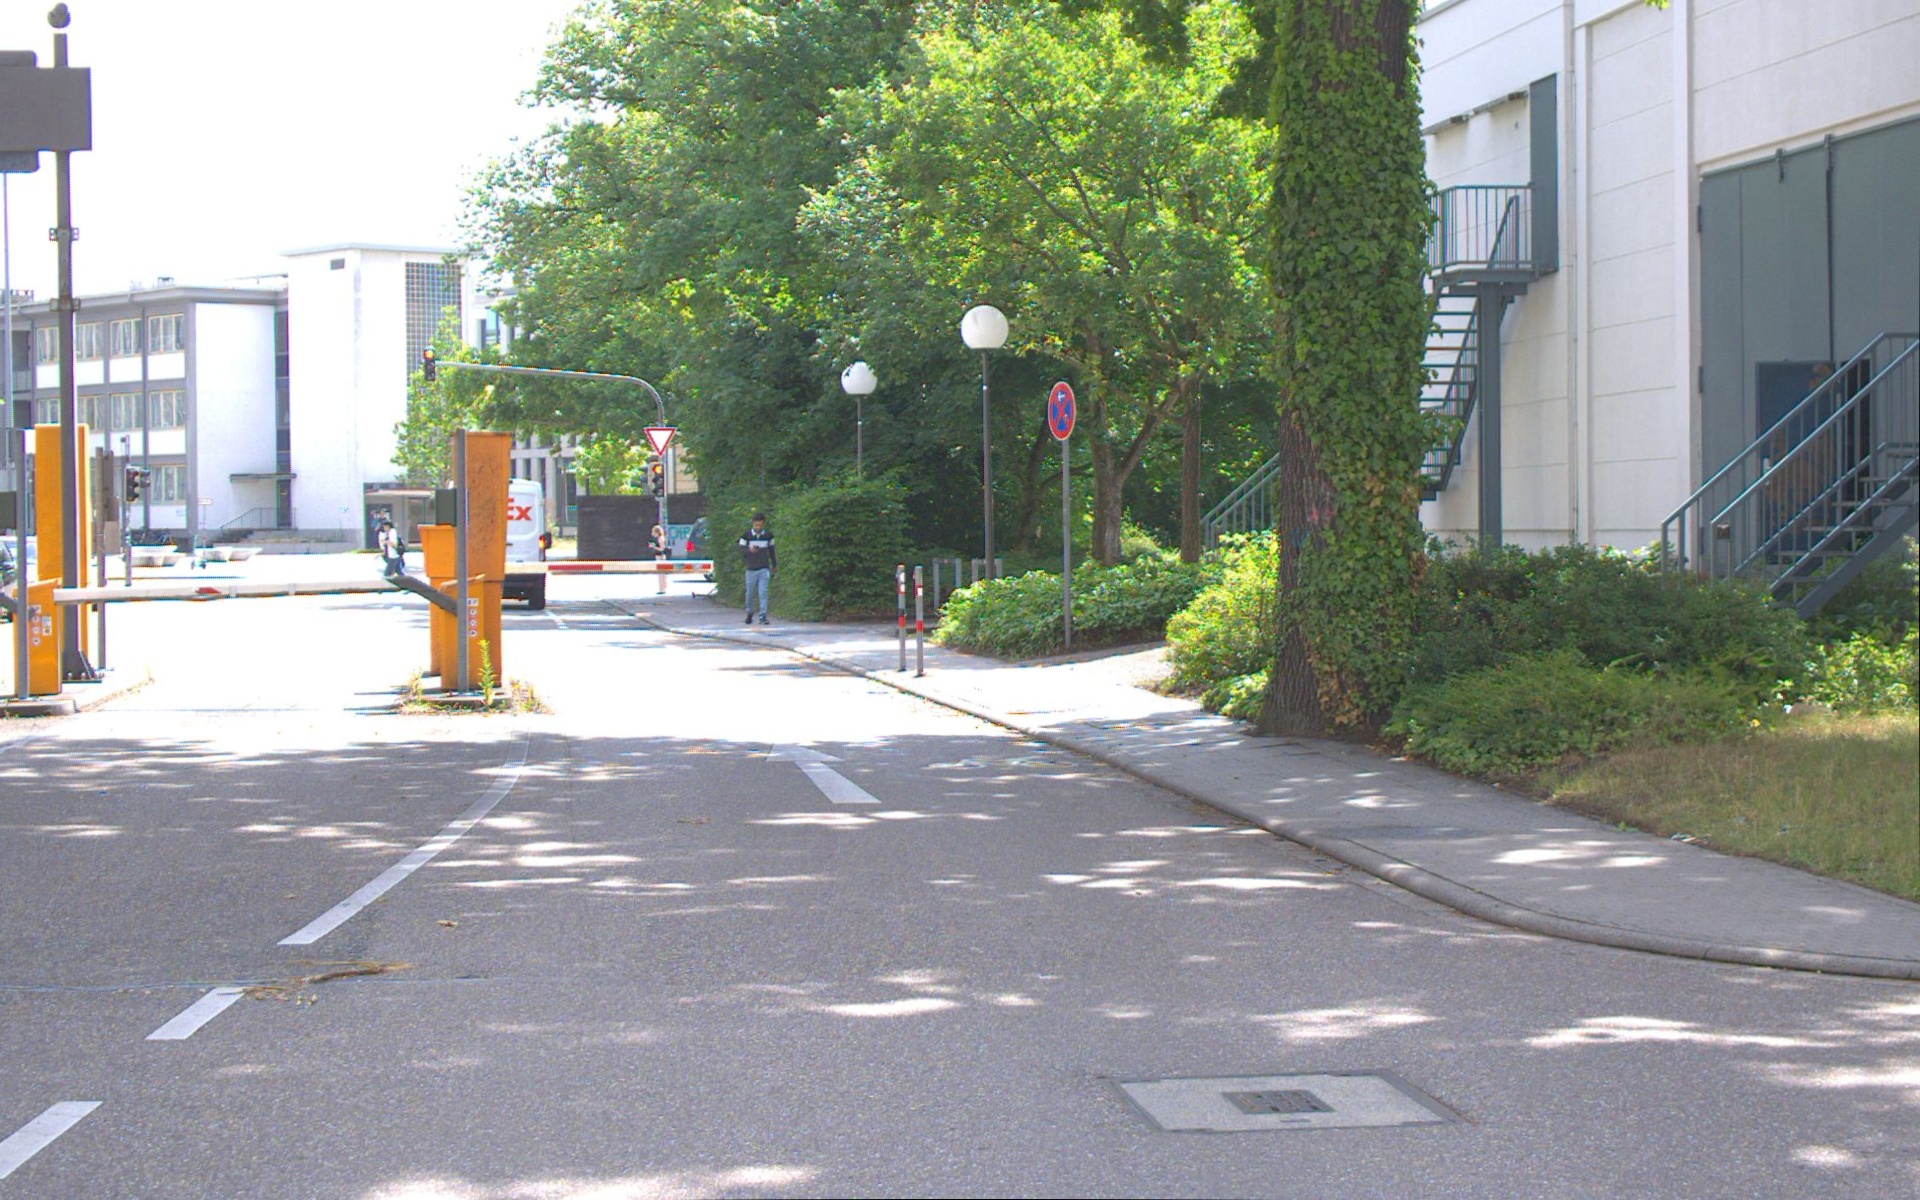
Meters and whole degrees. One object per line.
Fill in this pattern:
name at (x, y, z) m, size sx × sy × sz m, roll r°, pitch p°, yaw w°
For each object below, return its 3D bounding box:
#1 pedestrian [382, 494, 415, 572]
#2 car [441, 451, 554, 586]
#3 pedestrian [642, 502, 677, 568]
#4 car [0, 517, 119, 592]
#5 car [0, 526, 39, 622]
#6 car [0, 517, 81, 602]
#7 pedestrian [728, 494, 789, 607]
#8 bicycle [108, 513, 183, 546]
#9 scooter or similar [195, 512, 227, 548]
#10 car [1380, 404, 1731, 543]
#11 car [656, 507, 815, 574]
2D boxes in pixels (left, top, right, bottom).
pedestrian at (-13.353, -1.597, 81.740) m, size 0.719 × 1.853 × 0.770 m, roll -1°, pitch 2°, yaw -6°
car at (-9.312, -1.661, 68.906) m, size 2.094 × 2.557 × 5.604 m, roll -1°, pitch 2°, yaw -9°
pedestrian at (-7.190, -1.551, 82.337) m, size 0.731 × 1.570 × 0.776 m, roll 0°, pitch 1°, yaw -13°
car at (-17.911, -0.932, 68.549) m, size 1.676 × 1.390 × 4.663 m, roll 1°, pitch 1°, yaw -7°
car at (-14.932, -0.409, 50.644) m, size 1.859 × 1.373 × 5.017 m, roll 1°, pitch 1°, yaw -6°
car at (-17.374, -0.774, 63.562) m, size 1.676 × 1.462 × 3.912 m, roll 1°, pitch 1°, yaw -7°
pedestrian at (-3.014, -0.745, 51.335) m, size 0.739 × 1.669 × 1.257 m, roll -1°, pitch 1°, yaw -11°
bicycle at (-34.348, -2.982, 145.005) m, size 1.116 × 1.359 × 2.958 m, roll 1°, pitch 2°, yaw 45°
scooter or similar at (-24.799, -2.312, 113.761) m, size 0.716 × 1.174 × 2.726 m, roll -1°, pitch 2°, yaw -19°
car at (8.971, -1.909, 52.010) m, size 4.824 × 2.007 × 2.062 m, roll -1°, pitch 1°, yaw -7°
car at (-6.067, -1.622, 92.728) m, size 4.075 × 1.741 × 1.730 m, roll -1°, pitch 1°, yaw -10°
